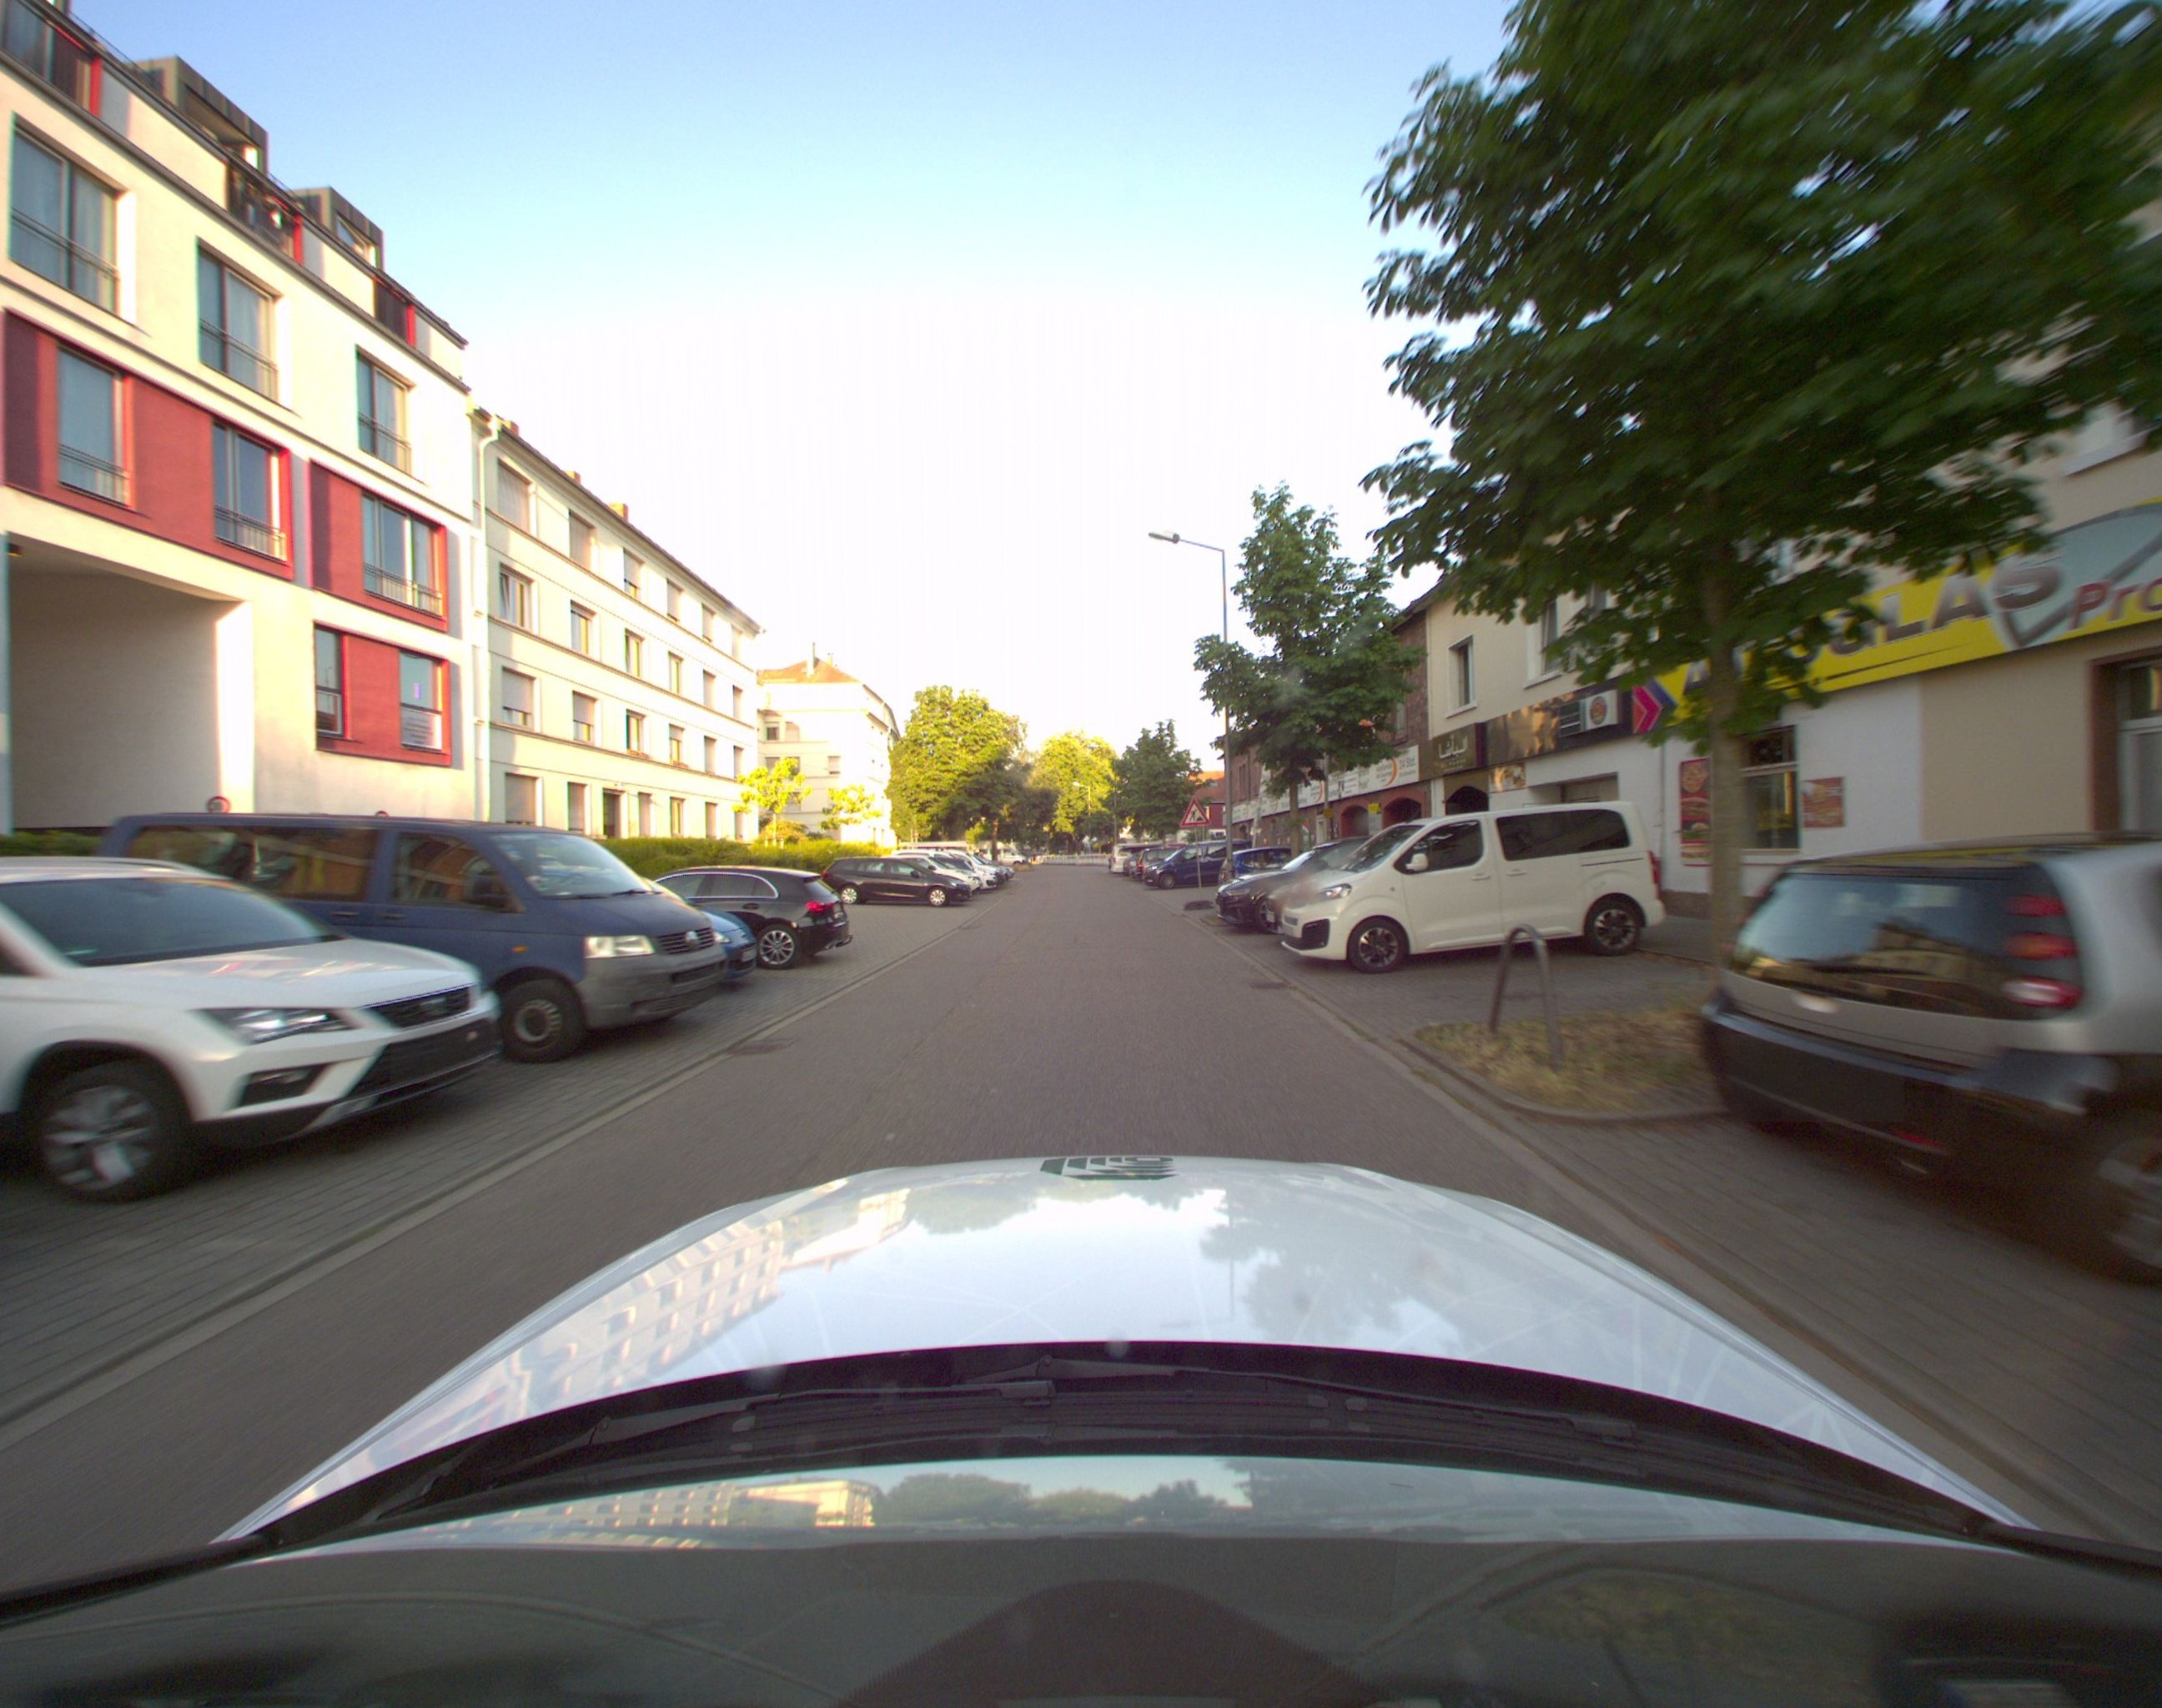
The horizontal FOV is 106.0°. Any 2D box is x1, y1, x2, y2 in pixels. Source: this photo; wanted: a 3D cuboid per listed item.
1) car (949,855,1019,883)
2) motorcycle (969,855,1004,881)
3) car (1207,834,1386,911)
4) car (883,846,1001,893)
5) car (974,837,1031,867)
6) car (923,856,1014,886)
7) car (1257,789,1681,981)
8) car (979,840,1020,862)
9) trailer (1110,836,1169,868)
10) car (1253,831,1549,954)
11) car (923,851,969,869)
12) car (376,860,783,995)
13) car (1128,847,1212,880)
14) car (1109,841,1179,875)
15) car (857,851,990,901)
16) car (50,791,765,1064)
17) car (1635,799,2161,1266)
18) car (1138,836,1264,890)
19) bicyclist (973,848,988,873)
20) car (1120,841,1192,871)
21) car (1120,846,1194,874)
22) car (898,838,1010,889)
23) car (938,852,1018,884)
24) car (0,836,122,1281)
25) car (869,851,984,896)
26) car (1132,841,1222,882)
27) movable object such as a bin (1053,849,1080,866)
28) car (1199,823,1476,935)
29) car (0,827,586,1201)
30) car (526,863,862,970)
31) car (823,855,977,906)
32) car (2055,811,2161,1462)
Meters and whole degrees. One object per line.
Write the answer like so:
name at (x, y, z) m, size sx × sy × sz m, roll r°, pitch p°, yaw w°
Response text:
car at (-5.441, 0.819, 45.835) m, size 3.701 × 1.506 × 1.690 m, roll -1°, pitch 0°, yaw 0°
motorcycle at (-5.508, 0.798, 47.403) m, size 1.983 × 1.436 × 0.720 m, roll -1°, pitch 0°, yaw -6°
car at (5.408, 0.455, 20.813) m, size 3.975 × 1.545 × 1.844 m, roll -5°, pitch 0°, yaw -1°
car at (-5.562, 0.605, 33.055) m, size 4.405 × 1.802 × 1.944 m, roll 1°, pitch 0°, yaw 1°
car at (-6.894, -0.158, 71.941) m, size 4.716 × 2.569 × 2.000 m, roll -1°, pitch 0°, yaw 0°
car at (-5.639, 0.844, 41.123) m, size 4.311 × 1.405 × 1.851 m, roll 1°, pitch 0°, yaw 0°
car at (4.904, 0.375, 10.865) m, size 4.571 × 1.861 × 2.013 m, roll -6°, pitch 0°, yaw 1°
car at (-9.125, -0.343, 91.178) m, size 4.500 × 2.431 × 1.994 m, roll -1°, pitch 0°, yaw -9°
trailer at (4.148, -0.134, 58.146) m, size 3.976 × 2.187 × 1.999 m, roll -1°, pitch 0°, yaw -2°
car at (5.002, 0.577, 13.188) m, size 3.972 × 1.496 × 1.893 m, roll -5°, pitch 0°, yaw 1°
car at (-14.210, 0.616, 85.707) m, size 4.672 × 1.873 × 1.994 m, roll -1°, pitch 0°, yaw -9°
car at (-5.889, 0.834, 9.947) m, size 3.874 × 1.493 × 1.652 m, roll 0°, pitch 0°, yaw -3°
car at (4.491, 0.460, 41.390) m, size 3.939 × 1.565 × 1.817 m, roll -1°, pitch 0°, yaw -5°
car at (3.723, 0.255, 48.764) m, size 3.977 × 1.904 × 1.998 m, roll -1°, pitch 0°, yaw -2°
car at (-5.391, 0.744, 28.244) m, size 4.230 × 1.621 × 1.813 m, roll 0°, pitch 0°, yaw -1°
car at (-5.687, 0.591, 7.337) m, size 4.834 × 2.055 × 2.002 m, roll -1°, pitch 0°, yaw 3°
car at (4.945, 0.512, 3.634) m, size 3.774 × 1.496 × 1.680 m, roll -4°, pitch 0°, yaw -2°
car at (4.860, 0.344, 33.464) m, size 4.774 × 1.753 × 2.016 m, roll -5°, pitch 1°, yaw -2°
bicyclist at (-7.139, 0.460, 57.772) m, size 0.842 × 1.726 × 0.794 m, roll -1°, pitch 0°, yaw -30°
car at (4.674, 0.115, 51.302) m, size 4.289 × 1.799 × 1.903 m, roll -1°, pitch 0°, yaw -2°
car at (4.249, 0.323, 45.928) m, size 3.976 × 1.510 × 1.775 m, roll -1°, pitch 0°, yaw -2°
car at (-5.510, 0.384, 35.832) m, size 4.494 × 2.070 × 2.001 m, roll 2°, pitch 1°, yaw 2°
car at (-5.454, 0.721, 43.324) m, size 3.973 × 1.583 × 1.729 m, roll -1°, pitch 0°, yaw 0°
car at (-5.941, 0.781, 2.448) m, size 3.973 × 1.618 × 1.797 m, roll -1°, pitch 0°, yaw 0°
car at (-5.756, 0.723, 30.772) m, size 3.976 × 1.484 × 1.754 m, roll 2°, pitch 0°, yaw -2°
car at (4.544, 0.351, 38.924) m, size 3.977 × 1.618 × 1.893 m, roll -4°, pitch 0°, yaw -3°
movable object such as a bin at (-2.072, 0.515, 116.476) m, size 2.633 × 2.403 × 5.169 m, roll -1°, pitch 0°, yaw -16°
car at (4.814, 0.449, 15.831) m, size 4.678 × 1.631 × 2.001 m, roll -5°, pitch 0°, yaw 1°
car at (-5.609, 0.752, 4.768) m, size 4.170 × 1.723 × 1.903 m, roll -1°, pitch 2°, yaw 1°
car at (-5.571, 0.888, 12.169) m, size 4.130 × 1.416 × 1.736 m, roll 1°, pitch 0°, yaw -4°
car at (-5.580, 0.799, 25.571) m, size 4.397 × 1.452 × 1.826 m, roll 1°, pitch 0°, yaw -3°
car at (4.798, 0.517, 1.049) m, size 4.707 × 1.496 × 1.999 m, roll -3°, pitch 0°, yaw -1°
